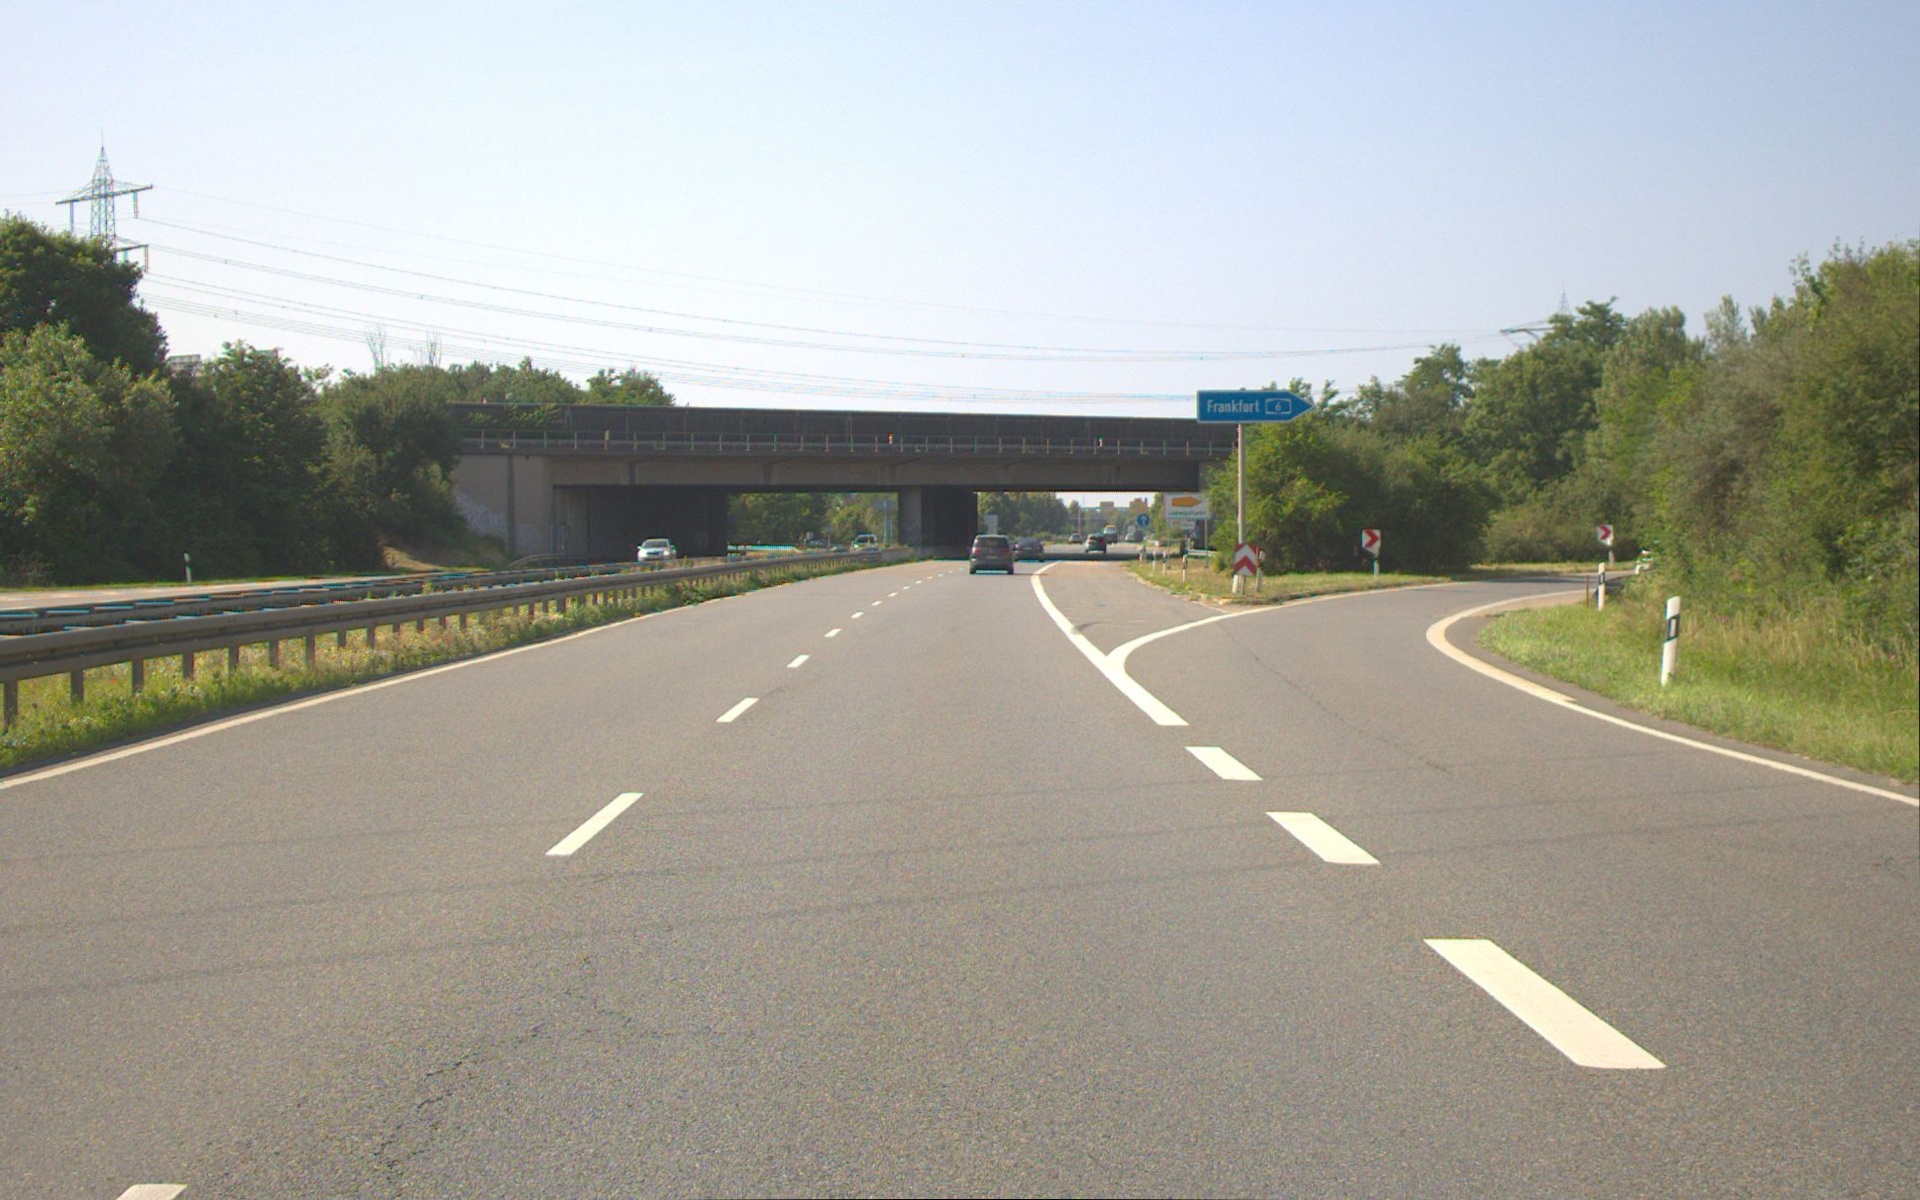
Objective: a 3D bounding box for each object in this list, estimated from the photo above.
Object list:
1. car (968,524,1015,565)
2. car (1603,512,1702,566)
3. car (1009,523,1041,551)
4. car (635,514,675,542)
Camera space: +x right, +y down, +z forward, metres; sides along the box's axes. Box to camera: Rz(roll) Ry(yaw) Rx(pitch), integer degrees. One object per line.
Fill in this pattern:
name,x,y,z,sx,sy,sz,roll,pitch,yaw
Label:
car,1.318,-2.290,141.708,1.850,1.638,4.000,1,1,2
car,22.690,-1.992,112.535,1.800,1.659,3.992,4,2,33
car,3.933,-3.813,207.095,1.850,1.638,4.000,1,1,2
car,-16.109,-3.796,181.559,1.674,1.405,3.763,1,2,1
